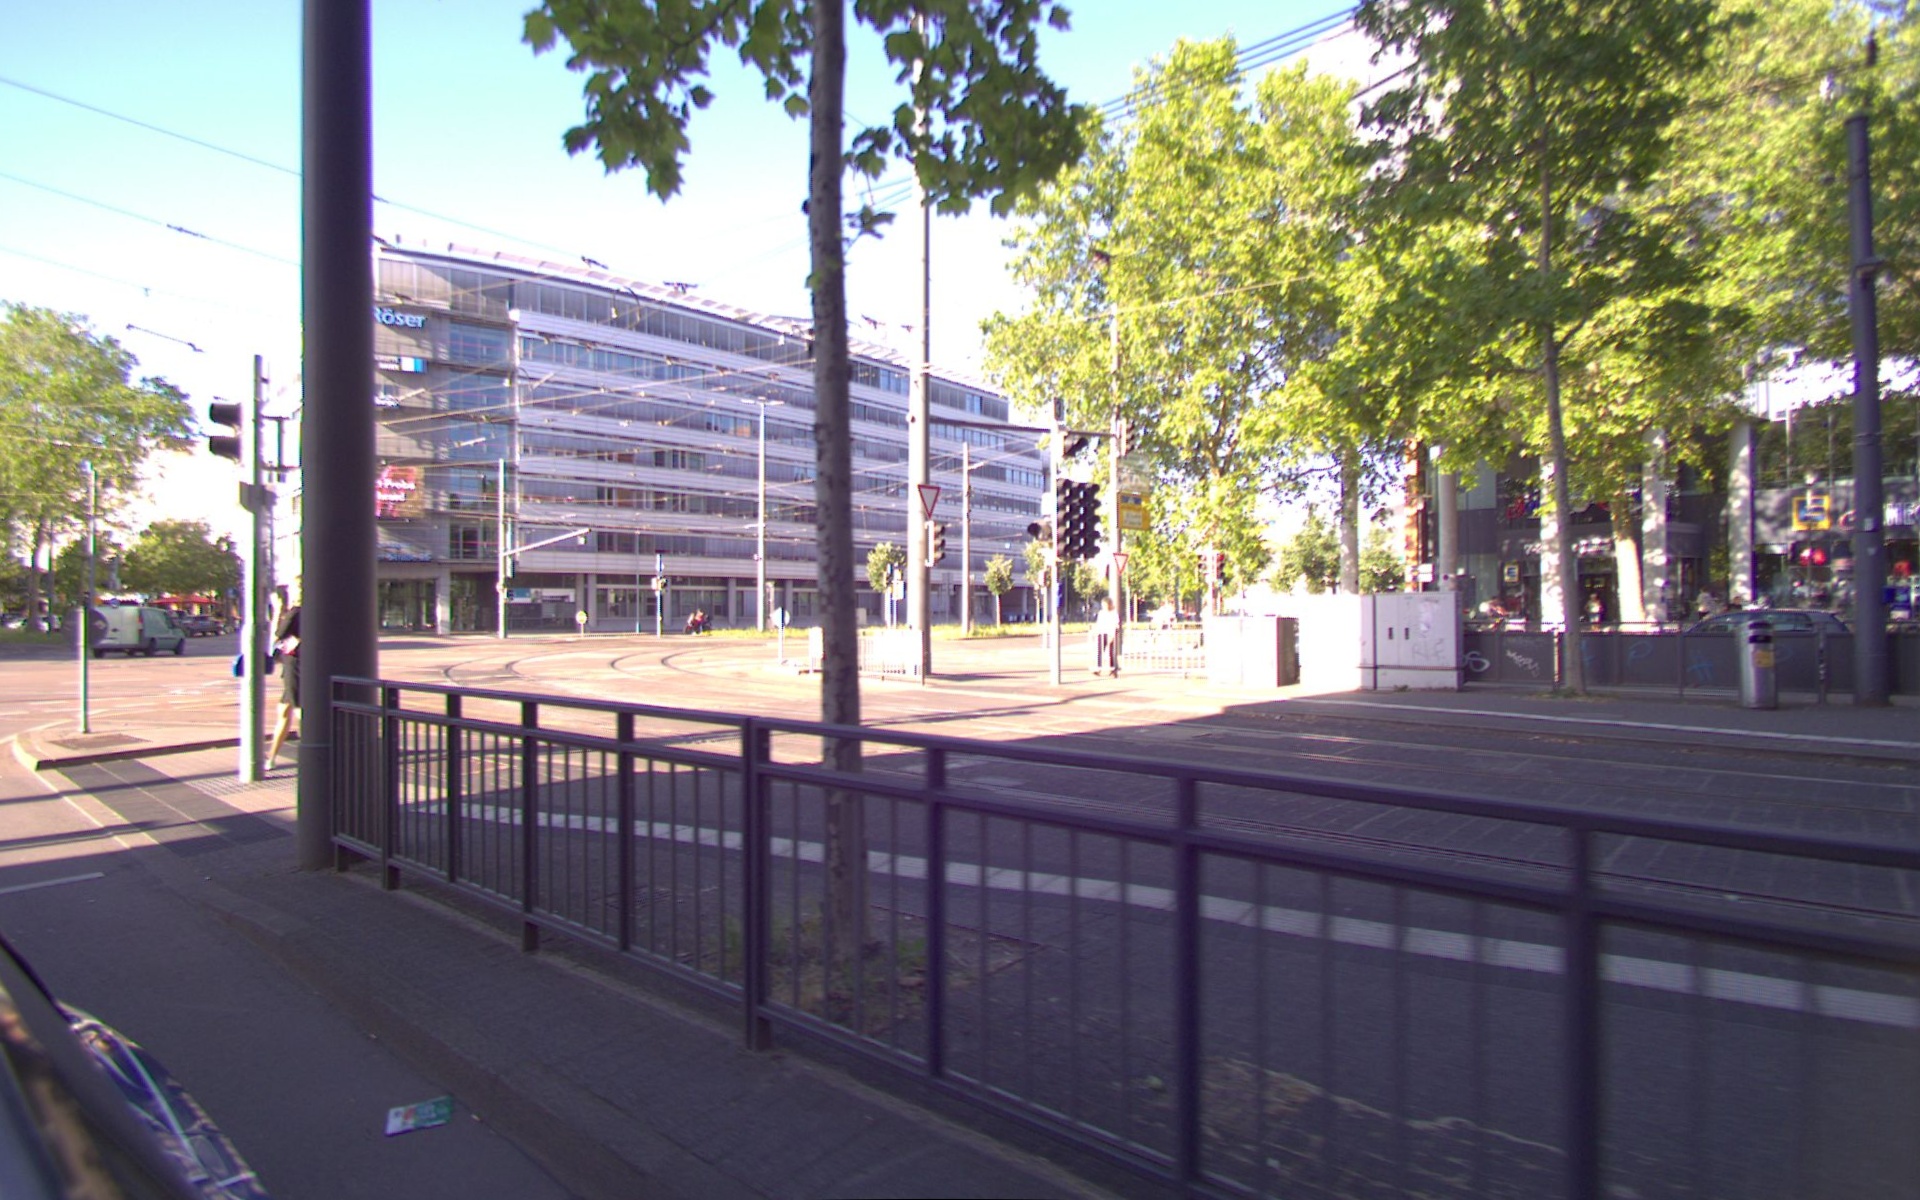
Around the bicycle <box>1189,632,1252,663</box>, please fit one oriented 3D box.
[{"bbox_3d":[9.920,1.782,38.635,2.368,1.137,0.590,-1,-2,44],"label":"bicycle"}]

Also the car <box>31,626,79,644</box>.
[{"bbox_3d":[-76.938,3.008,86.023,3.959,1.486,1.849,-1,-2,28],"label":"car"}]

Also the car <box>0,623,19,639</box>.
[{"bbox_3d":[-91.032,2.951,95.679,3.959,1.486,1.849,-1,-2,28],"label":"car"}]

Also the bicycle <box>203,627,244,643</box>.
[{"bbox_3d":[-55.175,2.623,75.835,0.771,1.223,2.373,-2,-3,26],"label":"bicycle"}]

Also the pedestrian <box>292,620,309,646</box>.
[{"bbox_3d":[-41.133,2.064,63.094,0.793,1.653,0.652,-2,-3,40],"label":"pedestrian"}]

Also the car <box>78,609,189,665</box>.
[{"bbox_3d":[-29.922,1.305,36.800,1.813,1.850,4.120,1,0,-19],"label":"car"}]

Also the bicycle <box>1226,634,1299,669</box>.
[{"bbox_3d":[10.188,1.715,34.177,2.367,1.137,0.590,-1,-2,43],"label":"bicycle"}]

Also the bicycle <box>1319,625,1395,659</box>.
[{"bbox_3d":[13.600,1.422,34.724,2.367,1.137,0.590,-1,-2,43],"label":"bicycle"}]

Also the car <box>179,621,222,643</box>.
[{"bbox_3d":[-52.068,2.189,69.332,1.840,1.486,3.980,1,-2,-44],"label":"car"}]

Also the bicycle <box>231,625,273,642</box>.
[{"bbox_3d":[-51.346,2.416,73.391,2.358,1.223,0.776,2,-4,-43],"label":"bicycle"}]

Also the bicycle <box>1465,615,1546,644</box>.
[{"bbox_3d":[21.332,1.156,39.635,0.881,1.112,2.699,1,-2,-33],"label":"bicycle"}]

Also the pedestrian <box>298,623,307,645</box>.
[{"bbox_3d":[-54.715,2.820,84.169,0.577,1.747,0.795,0,-3,-38],"label":"pedestrian"}]

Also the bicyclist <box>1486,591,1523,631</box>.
[{"bbox_3d":[21.342,0.440,39.657,0.881,1.560,0.942,2,-2,-34],"label":"bicyclist"}]

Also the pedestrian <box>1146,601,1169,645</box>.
[{"bbox_3d":[8.538,1.005,43.776,0.734,1.884,0.689,-2,-2,43],"label":"pedestrian"}]

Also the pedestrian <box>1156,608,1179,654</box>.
[{"bbox_3d":[8.758,1.307,42.754,0.733,1.884,0.664,-1,-2,41],"label":"pedestrian"}]

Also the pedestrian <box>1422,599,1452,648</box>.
[{"bbox_3d":[16.765,0.827,35.552,0.716,1.693,0.819,-1,-3,44],"label":"pedestrian"}]

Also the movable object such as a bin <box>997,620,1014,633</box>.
[{"bbox_3d":[4.931,2.876,109.563,1.329,1.311,1.157,-2,-2,44],"label":"movable object such as a bin"}]

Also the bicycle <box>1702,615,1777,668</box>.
[{"bbox_3d":[21.353,1.110,27.789,1.030,1.363,3.330,-1,-1,28],"label":"bicycle"}]

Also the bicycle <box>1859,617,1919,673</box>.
[{"bbox_3d":[24.498,1.135,26.185,1.030,1.363,3.330,-1,-1,28],"label":"bicycle"}]

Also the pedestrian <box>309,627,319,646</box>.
[{"bbox_3d":[-40.406,2.279,63.290,0.461,1.219,0.437,-2,-3,40],"label":"pedestrian"}]

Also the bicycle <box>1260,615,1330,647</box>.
[{"bbox_3d":[12.138,1.120,36.724,2.367,1.137,0.590,-1,-2,43],"label":"bicycle"}]

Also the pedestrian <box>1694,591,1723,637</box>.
[{"bbox_3d":[29.254,0.536,39.540,0.687,1.781,0.707,0,-2,-36],"label":"pedestrian"}]

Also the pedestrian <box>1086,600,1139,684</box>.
[{"bbox_3d":[3.166,0.874,20.993,0.818,1.693,0.717,3,-3,-39],"label":"pedestrian"}]

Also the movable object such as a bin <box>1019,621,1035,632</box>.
[{"bbox_3d":[7.473,2.960,113.241,1.174,1.311,1.309,-2,-2,44],"label":"movable object such as a bin"}]

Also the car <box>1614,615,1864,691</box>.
[{"bbox_3d":[16.185,1.036,21.156,4.000,1.417,1.648,-1,-1,43],"label":"car"}]

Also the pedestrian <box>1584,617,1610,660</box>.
[{"bbox_3d":[25.552,1.537,40.615,0.695,1.665,0.699,0,-2,-42],"label":"pedestrian"}]

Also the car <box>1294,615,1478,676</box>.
[{"bbox_3d":[10.751,1.090,25.700,4.000,1.417,1.648,-1,-1,43],"label":"car"}]

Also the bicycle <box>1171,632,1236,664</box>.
[{"bbox_3d":[8.995,1.767,37.499,2.368,1.137,0.590,-1,-2,44],"label":"bicycle"}]

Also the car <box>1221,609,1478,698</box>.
[{"bbox_3d":[6.888,0.876,18.131,3.998,1.425,1.648,-1,-1,41],"label":"car"}]

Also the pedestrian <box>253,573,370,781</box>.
[{"bbox_3d":[-5.659,0.648,8.825,0.705,1.693,0.832,3,-3,-40],"label":"pedestrian"}]

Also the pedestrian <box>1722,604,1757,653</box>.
[{"bbox_3d":[26.796,0.975,34.804,0.692,1.665,0.702,-1,-1,15],"label":"pedestrian"}]

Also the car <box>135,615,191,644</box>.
[{"bbox_3d":[-56.737,2.114,72.026,4.445,2.031,1.846,-1,-2,33],"label":"car"}]

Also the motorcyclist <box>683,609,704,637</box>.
[{"bbox_3d":[-17.765,1.509,67.556,0.821,1.871,1.097,-1,-1,41],"label":"motorcyclist"}]

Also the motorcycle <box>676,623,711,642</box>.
[{"bbox_3d":[-17.777,2.155,67.504,0.821,1.230,2.225,-1,-1,41],"label":"motorcycle"}]

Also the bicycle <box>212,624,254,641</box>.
[{"bbox_3d":[-52.935,2.383,73.738,0.771,1.223,2.373,-2,-3,26],"label":"bicycle"}]
